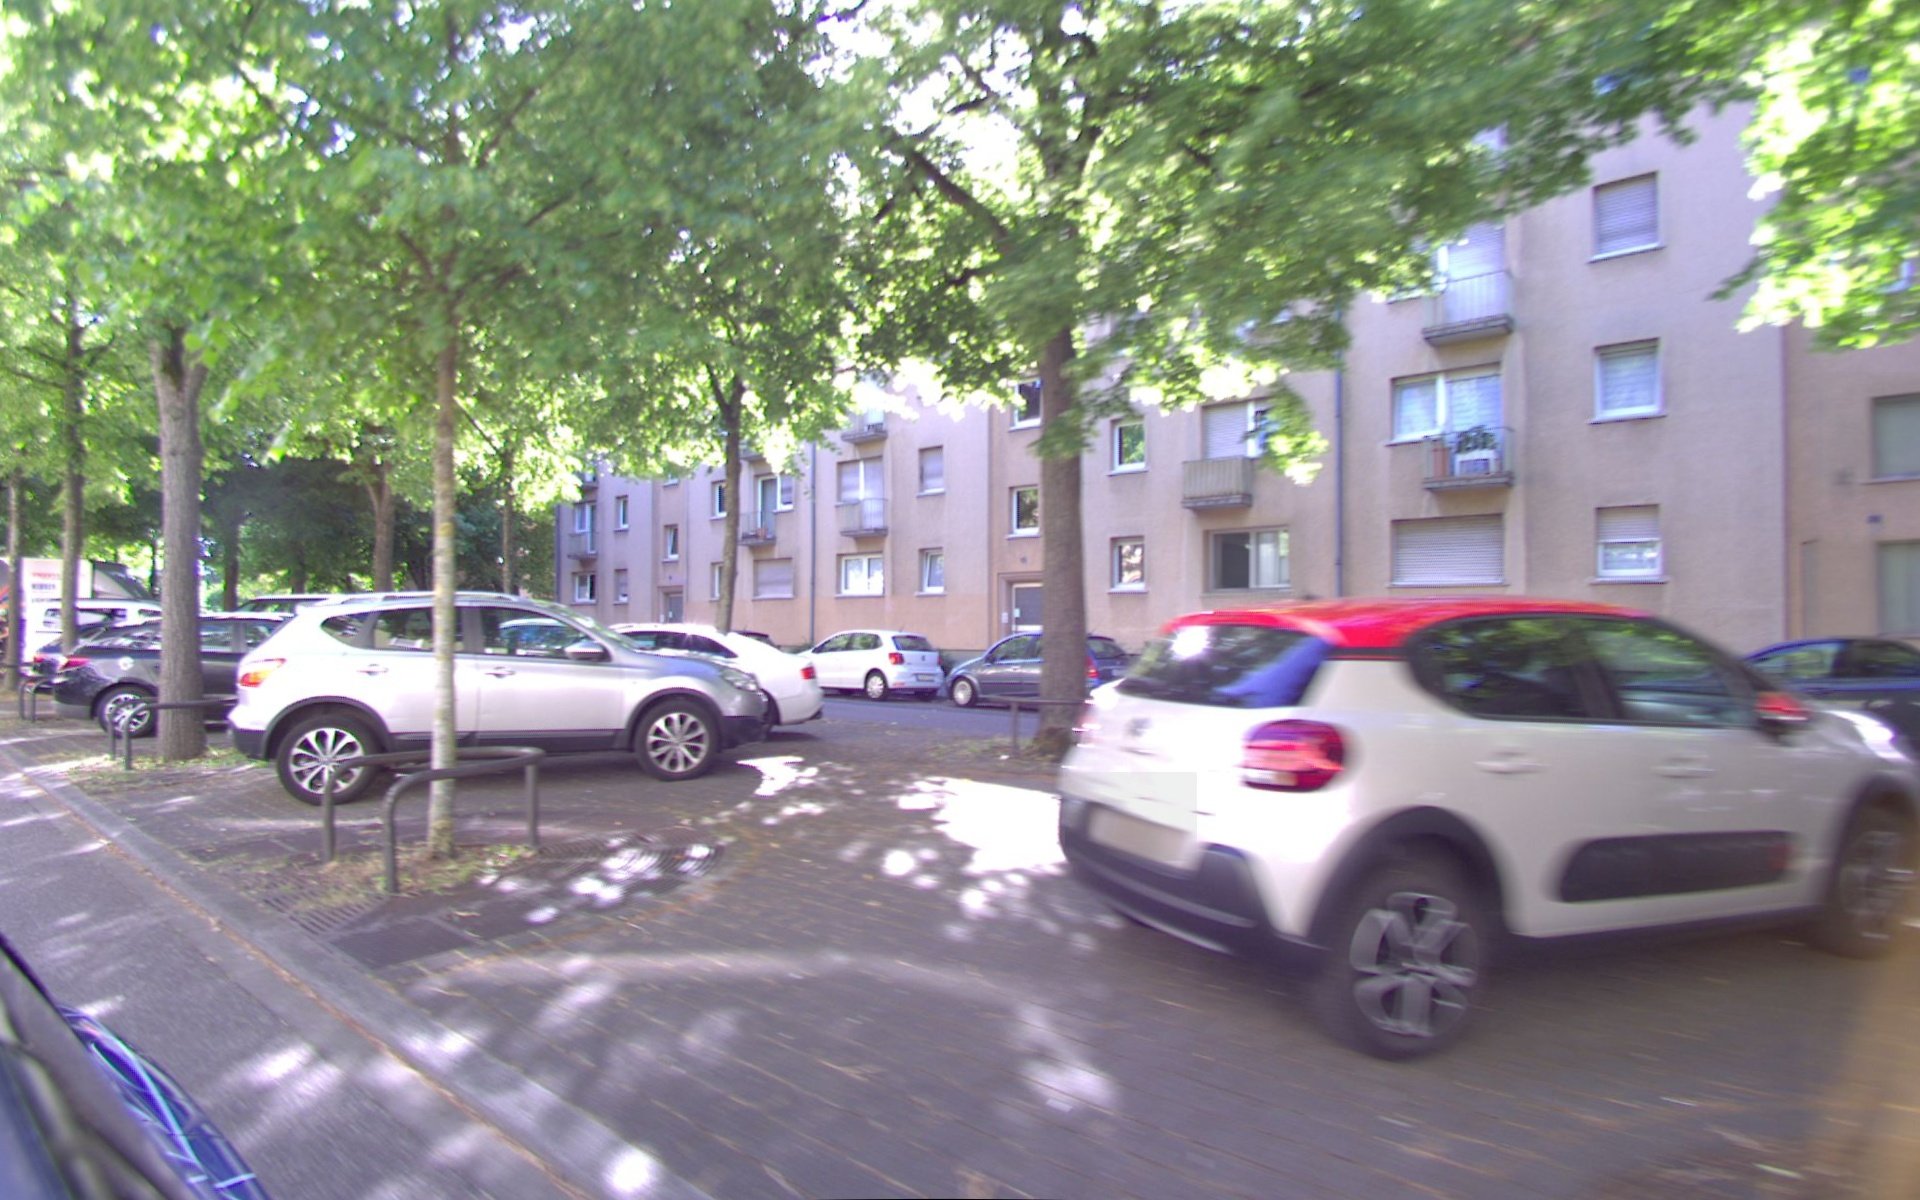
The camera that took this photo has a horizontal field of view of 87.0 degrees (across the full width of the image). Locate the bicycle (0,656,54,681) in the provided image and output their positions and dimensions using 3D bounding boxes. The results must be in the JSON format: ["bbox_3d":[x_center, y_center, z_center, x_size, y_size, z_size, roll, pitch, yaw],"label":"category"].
[{"bbox_3d":[-22.450,1.613,23.847,1.586,0.563,0.411,0,-2,-18],"label":"bicycle"}]

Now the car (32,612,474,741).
[{"bbox_3d":[-8.803,0.898,13.047,4.348,1.473,1.721,0,-1,-17],"label":"car"}]

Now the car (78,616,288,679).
[{"bbox_3d":[-18.810,1.119,24.677,3.737,1.417,1.628,0,-1,-15],"label":"car"}]

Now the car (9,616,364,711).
[{"bbox_3d":[-12.823,1.003,17.128,4.413,1.466,1.793,0,-1,-17],"label":"car"}]

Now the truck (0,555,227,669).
[{"bbox_3d":[-27.087,0.398,30.832,7.200,3.319,2.554,1,-2,-18],"label":"truck"}]

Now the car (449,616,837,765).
[{"bbox_3d":[-3.573,0.947,11.782,3.973,1.413,1.829,-1,0,-17],"label":"car"}]

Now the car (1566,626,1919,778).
[{"bbox_3d":[9.466,1.059,11.375,4.307,1.519,1.745,-1,-2,41],"label":"car"}]

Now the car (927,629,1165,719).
[{"bbox_3d":[1.494,1.263,18.397,3.998,1.428,1.872,-1,-2,41],"label":"car"}]

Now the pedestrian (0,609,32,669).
[{"bbox_3d":[-22.851,0.925,24.122,0.740,1.407,0.931,0,-2,-17],"label":"pedestrian"}]

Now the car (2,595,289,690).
[{"bbox_3d":[-17.363,0.851,21.911,4.445,1.879,2.088,0,-1,-24],"label":"car"}]

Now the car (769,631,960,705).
[{"bbox_3d":[-2.114,1.383,21.738,3.998,1.397,1.872,-1,-2,41],"label":"car"}]

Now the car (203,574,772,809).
[{"bbox_3d":[-3.838,0.687,8.827,4.075,1.692,1.765,0,-2,-20],"label":"car"}]

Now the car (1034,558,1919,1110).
[{"bbox_3d":[2.479,0.693,4.313,3.931,1.519,1.763,1,-2,-20],"label":"car"}]

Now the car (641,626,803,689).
[{"bbox_3d":[-5.879,1.353,24.767,3.998,1.398,1.872,-1,-3,41],"label":"car"}]

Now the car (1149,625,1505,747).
[{"bbox_3d":[5.267,1.145,14.892,4.531,1.519,1.973,-1,-2,41],"label":"car"}]

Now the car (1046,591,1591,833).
[{"bbox_3d":[2.601,0.747,7.665,3.484,1.519,1.762,1,-2,-15],"label":"car"}]

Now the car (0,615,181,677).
[{"bbox_3d":[-22.831,1.150,26.062,4.038,1.518,1.738,0,-1,-17],"label":"car"}]

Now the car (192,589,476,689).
[{"bbox_3d":[-12.405,0.784,20.455,4.526,1.846,2.025,1,-1,-20],"label":"car"}]
